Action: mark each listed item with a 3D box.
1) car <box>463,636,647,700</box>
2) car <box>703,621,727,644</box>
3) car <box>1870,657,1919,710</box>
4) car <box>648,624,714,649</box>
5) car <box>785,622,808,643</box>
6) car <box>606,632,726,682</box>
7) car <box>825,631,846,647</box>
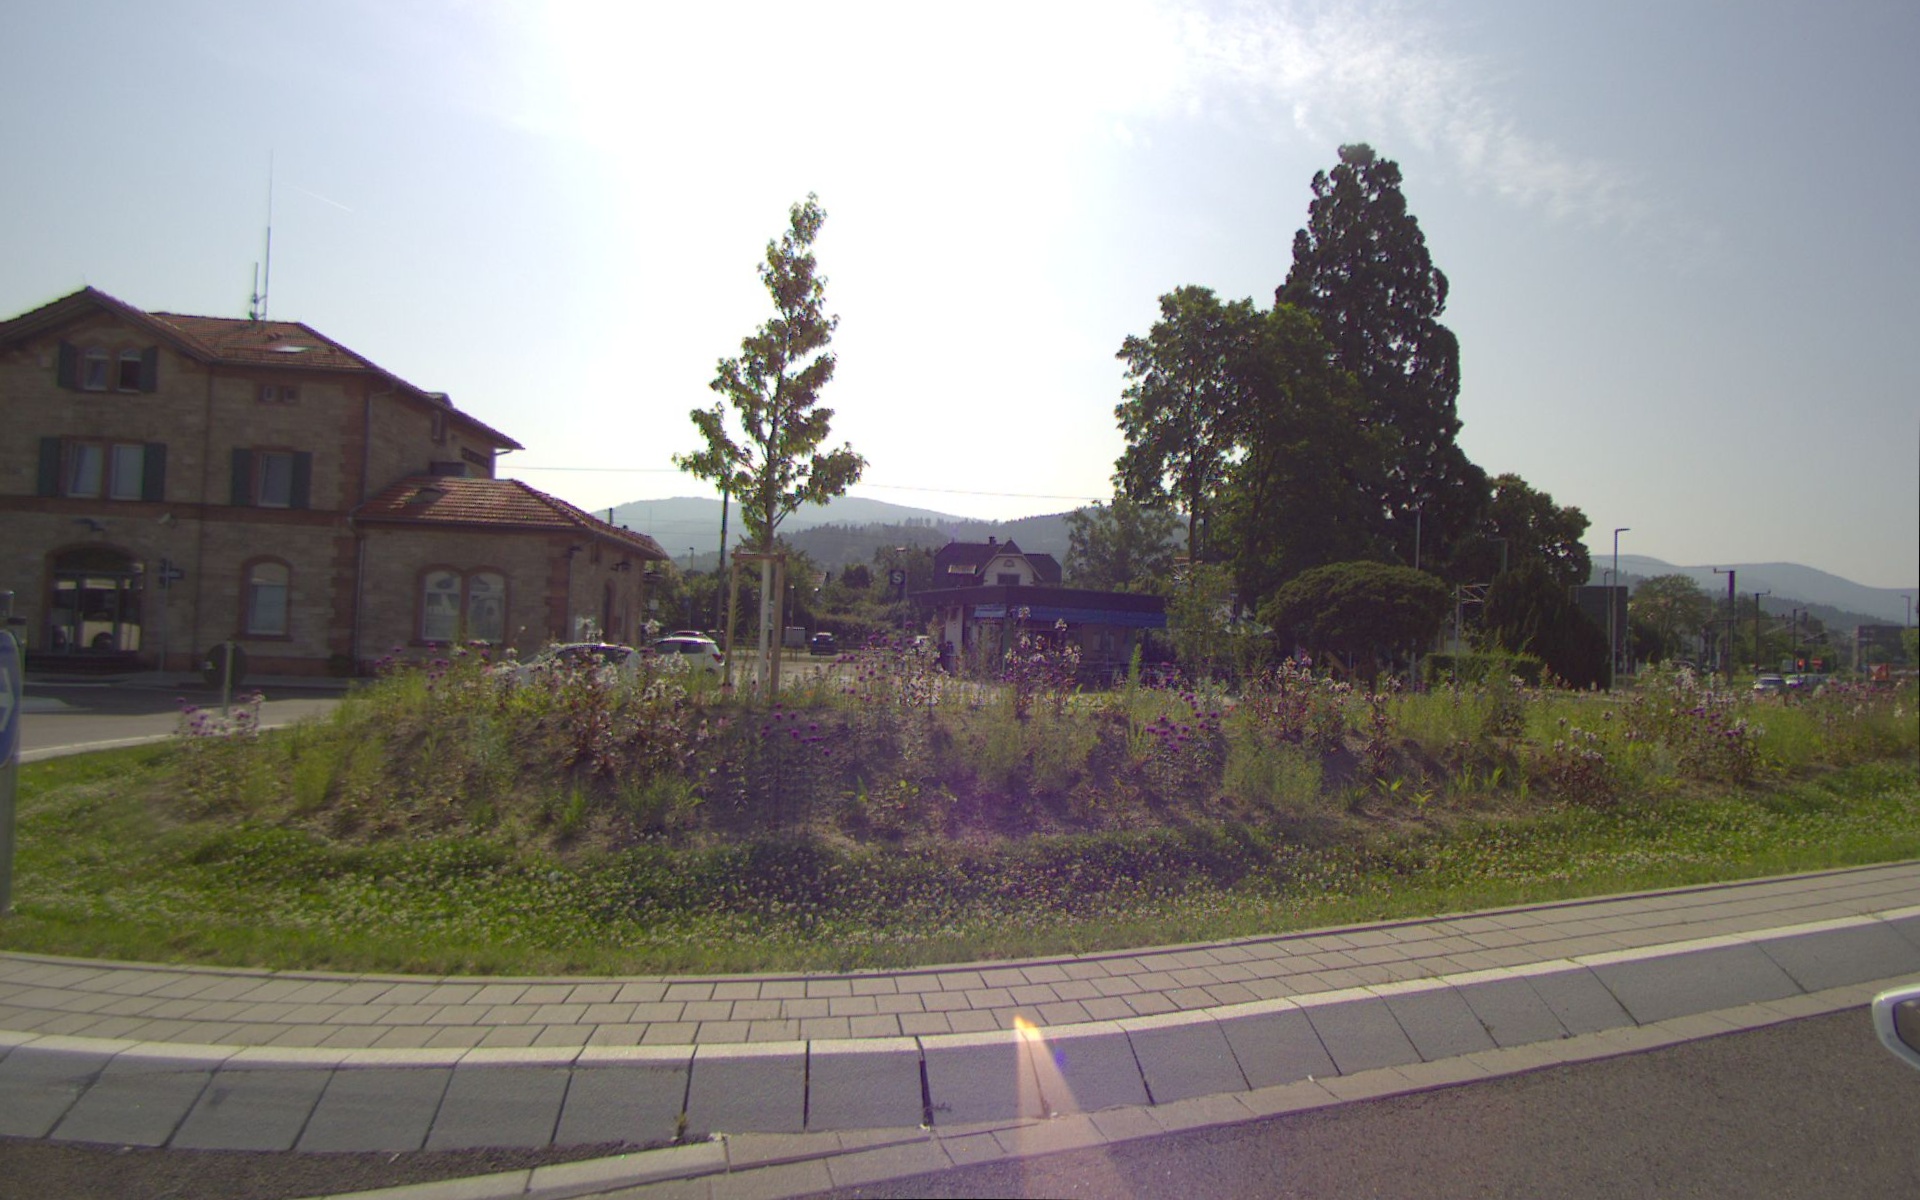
[{"bbox_3d":[-8.240,1.376,20.531,3.216,1.187,1.377,3,-3,-39],"label":"car"},{"bbox_3d":[-17.902,2.410,73.527,1.585,1.554,3.574,3,-3,-13],"label":"car"},{"bbox_3d":[38.969,3.392,40.927,3.956,2.040,1.800,3,-3,-32],"label":"car"},{"bbox_3d":[-17.739,2.350,63.943,3.935,1.358,1.607,3,-3,-16],"label":"car"},{"bbox_3d":[-12.703,2.562,78.271,1.582,1.554,3.578,3,-3,-7],"label":"car"},{"bbox_3d":[-9.333,1.825,32.134,3.473,1.469,1.391,2,-2,-9],"label":"car"},{"bbox_3d":[-11.009,3.446,89.046,1.365,1.382,3.538,2,-2,0],"label":"car"}]
